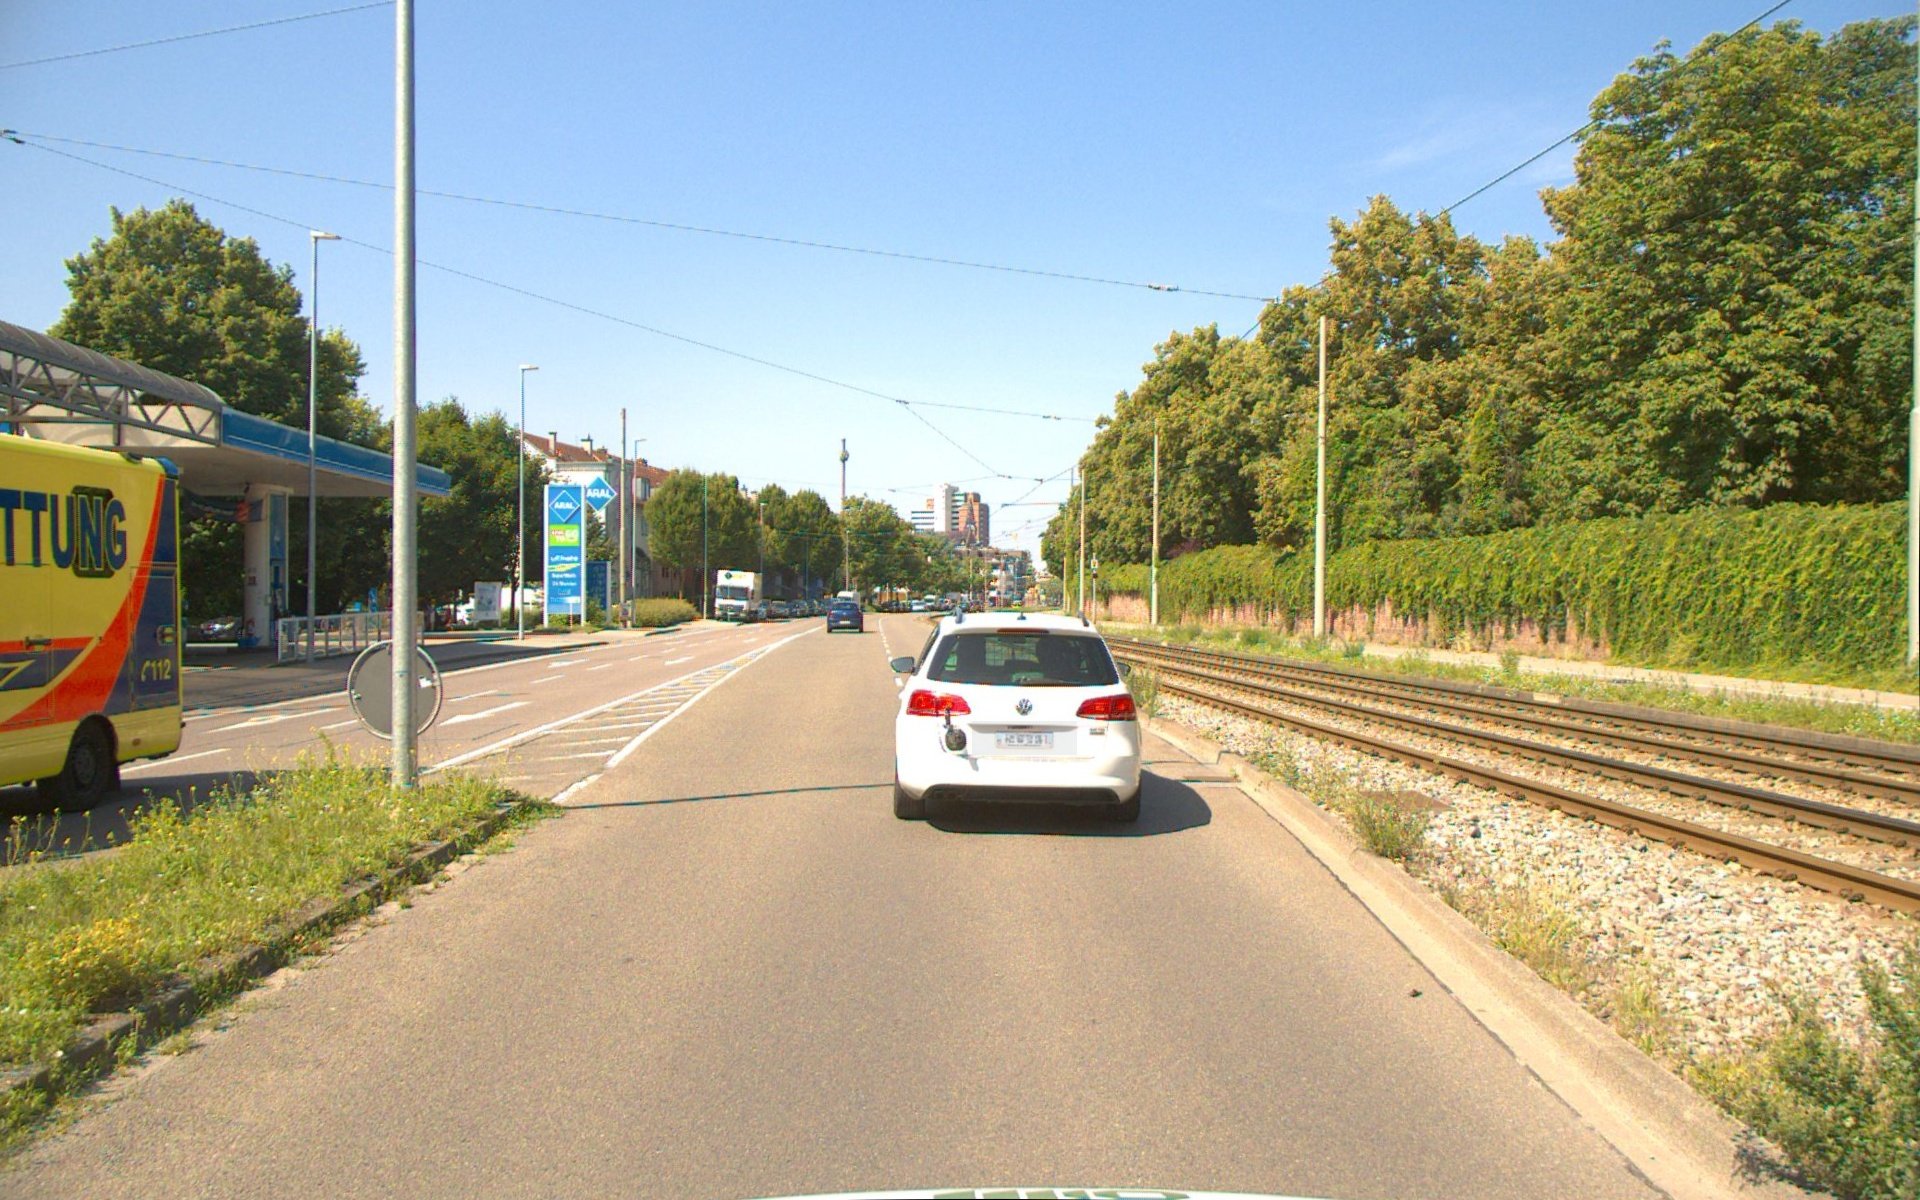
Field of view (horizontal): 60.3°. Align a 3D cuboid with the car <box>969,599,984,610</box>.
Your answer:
[{"bbox_3d":[2.335,0.671,232.146,1.762,1.486,4.002,0,0,5],"label":"car"}]

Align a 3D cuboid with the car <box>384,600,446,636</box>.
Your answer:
[{"bbox_3d":[-26.914,0.866,81.826,1.763,1.597,4.515,0,1,-3],"label":"car"}]

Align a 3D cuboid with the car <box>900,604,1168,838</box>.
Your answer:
[{"bbox_3d":[0.401,0.790,12.857,1.657,1.476,4.456,1,0,-3],"label":"car"}]

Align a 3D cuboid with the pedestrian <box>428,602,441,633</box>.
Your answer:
[{"bbox_3d":[-26.190,0.875,82.470,0.488,1.507,0.500,0,0,-3],"label":"pedestrian"}]

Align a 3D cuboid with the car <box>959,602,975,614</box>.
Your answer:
[{"bbox_3d":[0.983,1.105,218.773,1.762,1.534,4.002,1,0,5],"label":"car"}]

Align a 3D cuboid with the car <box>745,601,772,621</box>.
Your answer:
[{"bbox_3d":[-15.807,0.874,130.096,1.722,1.454,4.279,1,0,-2],"label":"car"}]

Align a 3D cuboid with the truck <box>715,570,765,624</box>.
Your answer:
[{"bbox_3d":[-15.597,-0.190,117.813,2.613,3.592,8.586,2,0,-2],"label":"truck"}]

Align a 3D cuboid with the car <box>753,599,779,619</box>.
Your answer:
[{"bbox_3d":[-16.154,0.733,137.784,1.696,1.579,4.317,1,0,-1],"label":"car"}]

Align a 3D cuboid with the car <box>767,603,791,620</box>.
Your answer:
[{"bbox_3d":[-16.227,1.048,148.426,1.744,1.509,4.855,1,-1,-1],"label":"car"}]

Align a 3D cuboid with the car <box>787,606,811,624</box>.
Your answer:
[{"bbox_3d":[-15.644,1.479,161.078,1.681,1.653,4.313,1,0,2],"label":"car"}]

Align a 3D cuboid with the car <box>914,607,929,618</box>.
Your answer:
[{"bbox_3d":[-5.113,1.656,218.473,1.624,1.445,4.311,-2,0,2],"label":"car"}]

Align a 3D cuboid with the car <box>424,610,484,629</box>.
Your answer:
[{"bbox_3d":[-34.560,1.344,113.019,3.572,1.226,1.576,0,0,8],"label":"car"}]

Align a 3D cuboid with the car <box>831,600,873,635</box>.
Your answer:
[{"bbox_3d":[-5.030,0.810,77.199,1.764,1.533,3.999,1,1,-2],"label":"car"}]

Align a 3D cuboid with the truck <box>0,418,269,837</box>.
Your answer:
[{"bbox_3d":[-7.363,0.189,11.170,2.282,2.715,7.359,-1,0,0],"label":"truck"}]

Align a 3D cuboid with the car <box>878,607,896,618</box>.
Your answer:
[{"bbox_3d":[-9.724,1.713,221.377,1.663,1.442,4.003,0,-1,9],"label":"car"}]
